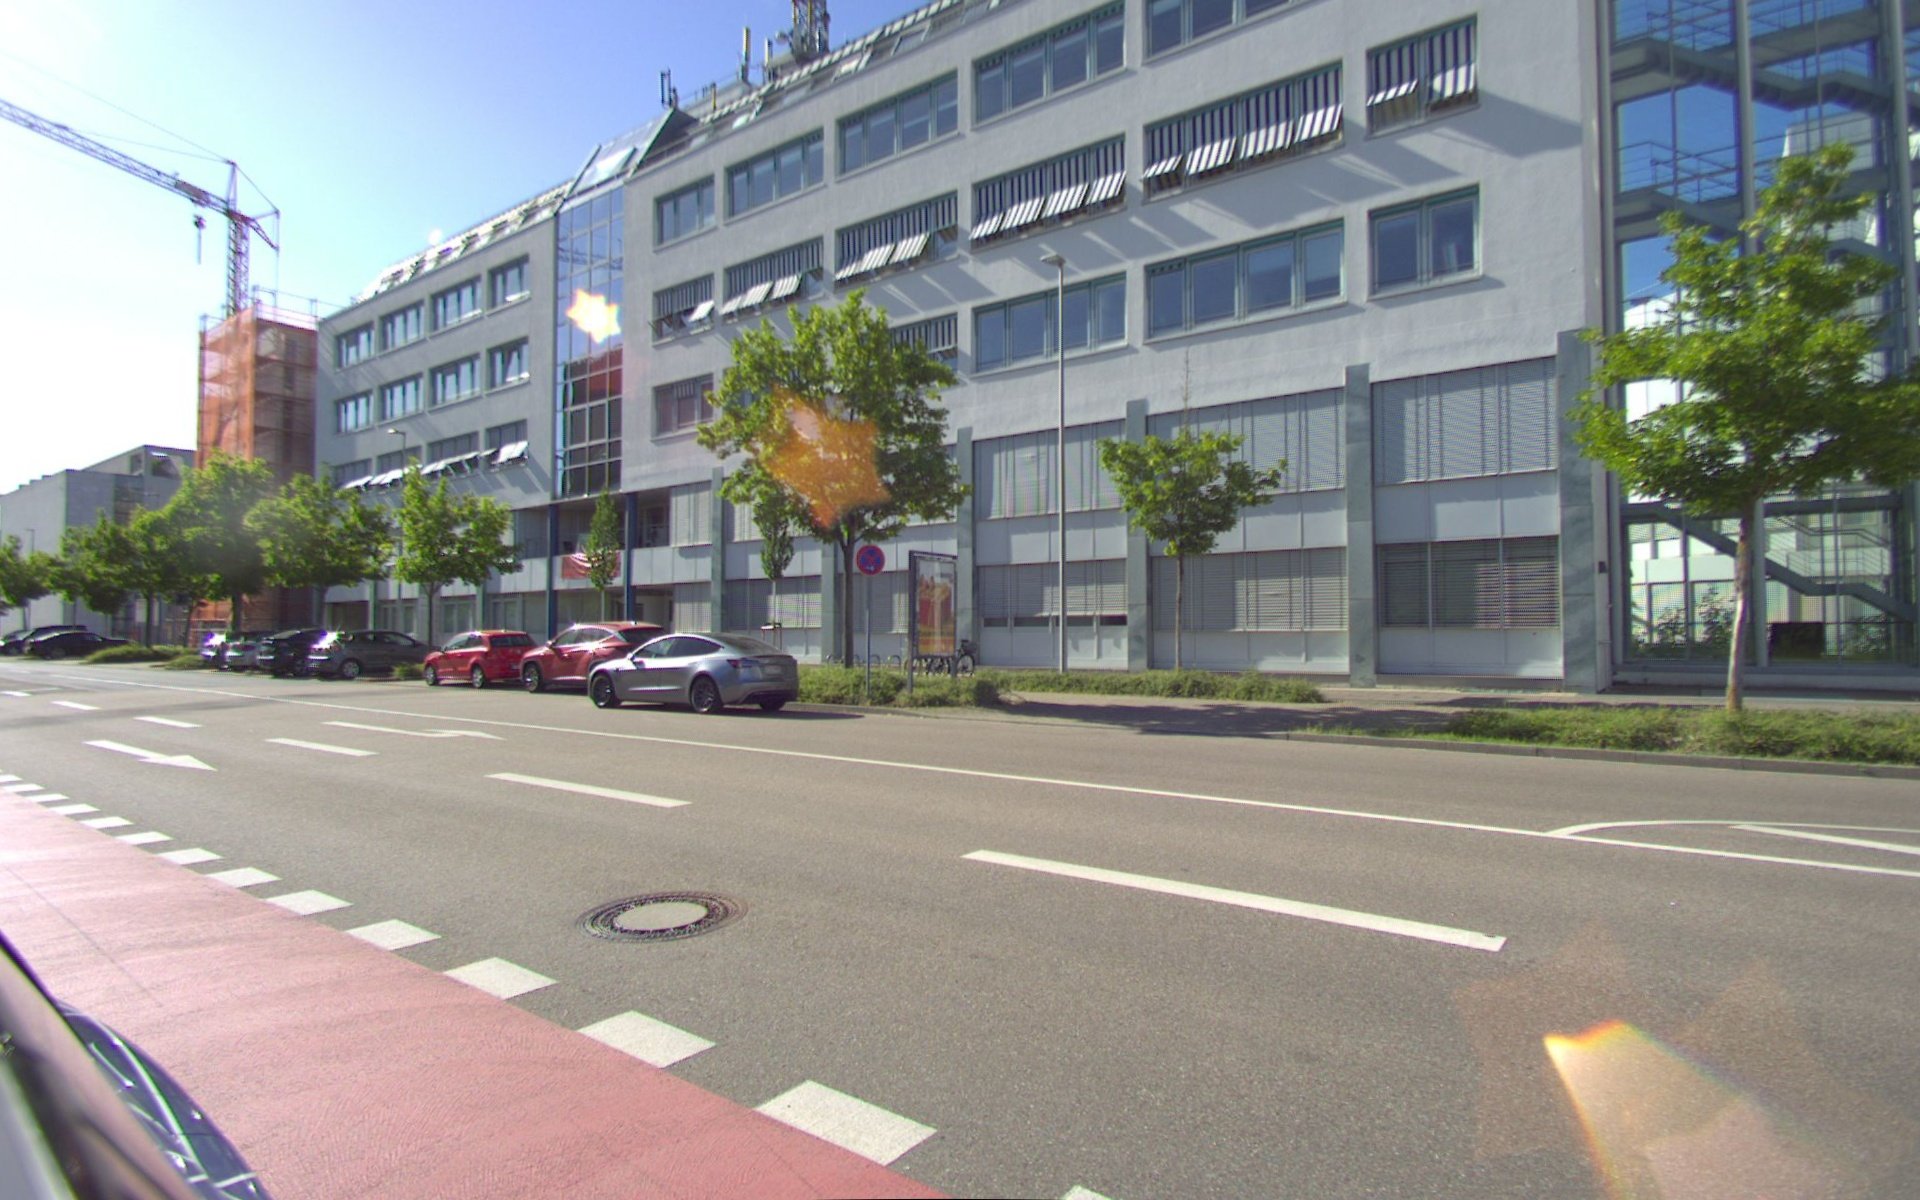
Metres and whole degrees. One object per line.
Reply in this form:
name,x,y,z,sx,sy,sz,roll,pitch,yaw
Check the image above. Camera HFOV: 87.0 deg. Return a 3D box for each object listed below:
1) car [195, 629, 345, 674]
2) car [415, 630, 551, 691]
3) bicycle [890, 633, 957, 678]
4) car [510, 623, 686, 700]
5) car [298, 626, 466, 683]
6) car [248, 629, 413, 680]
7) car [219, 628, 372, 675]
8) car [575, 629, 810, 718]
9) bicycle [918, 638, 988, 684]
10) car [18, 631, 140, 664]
car,-25.834,1.901,38.045,1.690,1.443,4.347,-2,0,36
car,-12.665,1.562,26.821,3.865,1.443,1.672,-1,0,38
bicycle,-0.879,1.369,24.945,0.556,1.077,1.747,-2,-4,44
car,-8.560,1.398,23.782,4.299,1.619,1.674,-1,0,34
car,-18.192,1.671,32.050,1.688,1.549,4.351,-1,0,32
car,-20.815,1.757,33.624,1.689,1.443,4.349,-1,0,34
car,-23.969,1.820,36.647,1.690,1.443,4.346,-2,0,36
car,-5.048,1.308,18.862,4.535,1.479,1.674,-2,-3,34
bicycle,-0.161,1.485,24.611,0.622,1.077,1.768,-2,-4,45
car,-45.145,2.387,51.934,1.972,1.443,4.350,-1,0,33
